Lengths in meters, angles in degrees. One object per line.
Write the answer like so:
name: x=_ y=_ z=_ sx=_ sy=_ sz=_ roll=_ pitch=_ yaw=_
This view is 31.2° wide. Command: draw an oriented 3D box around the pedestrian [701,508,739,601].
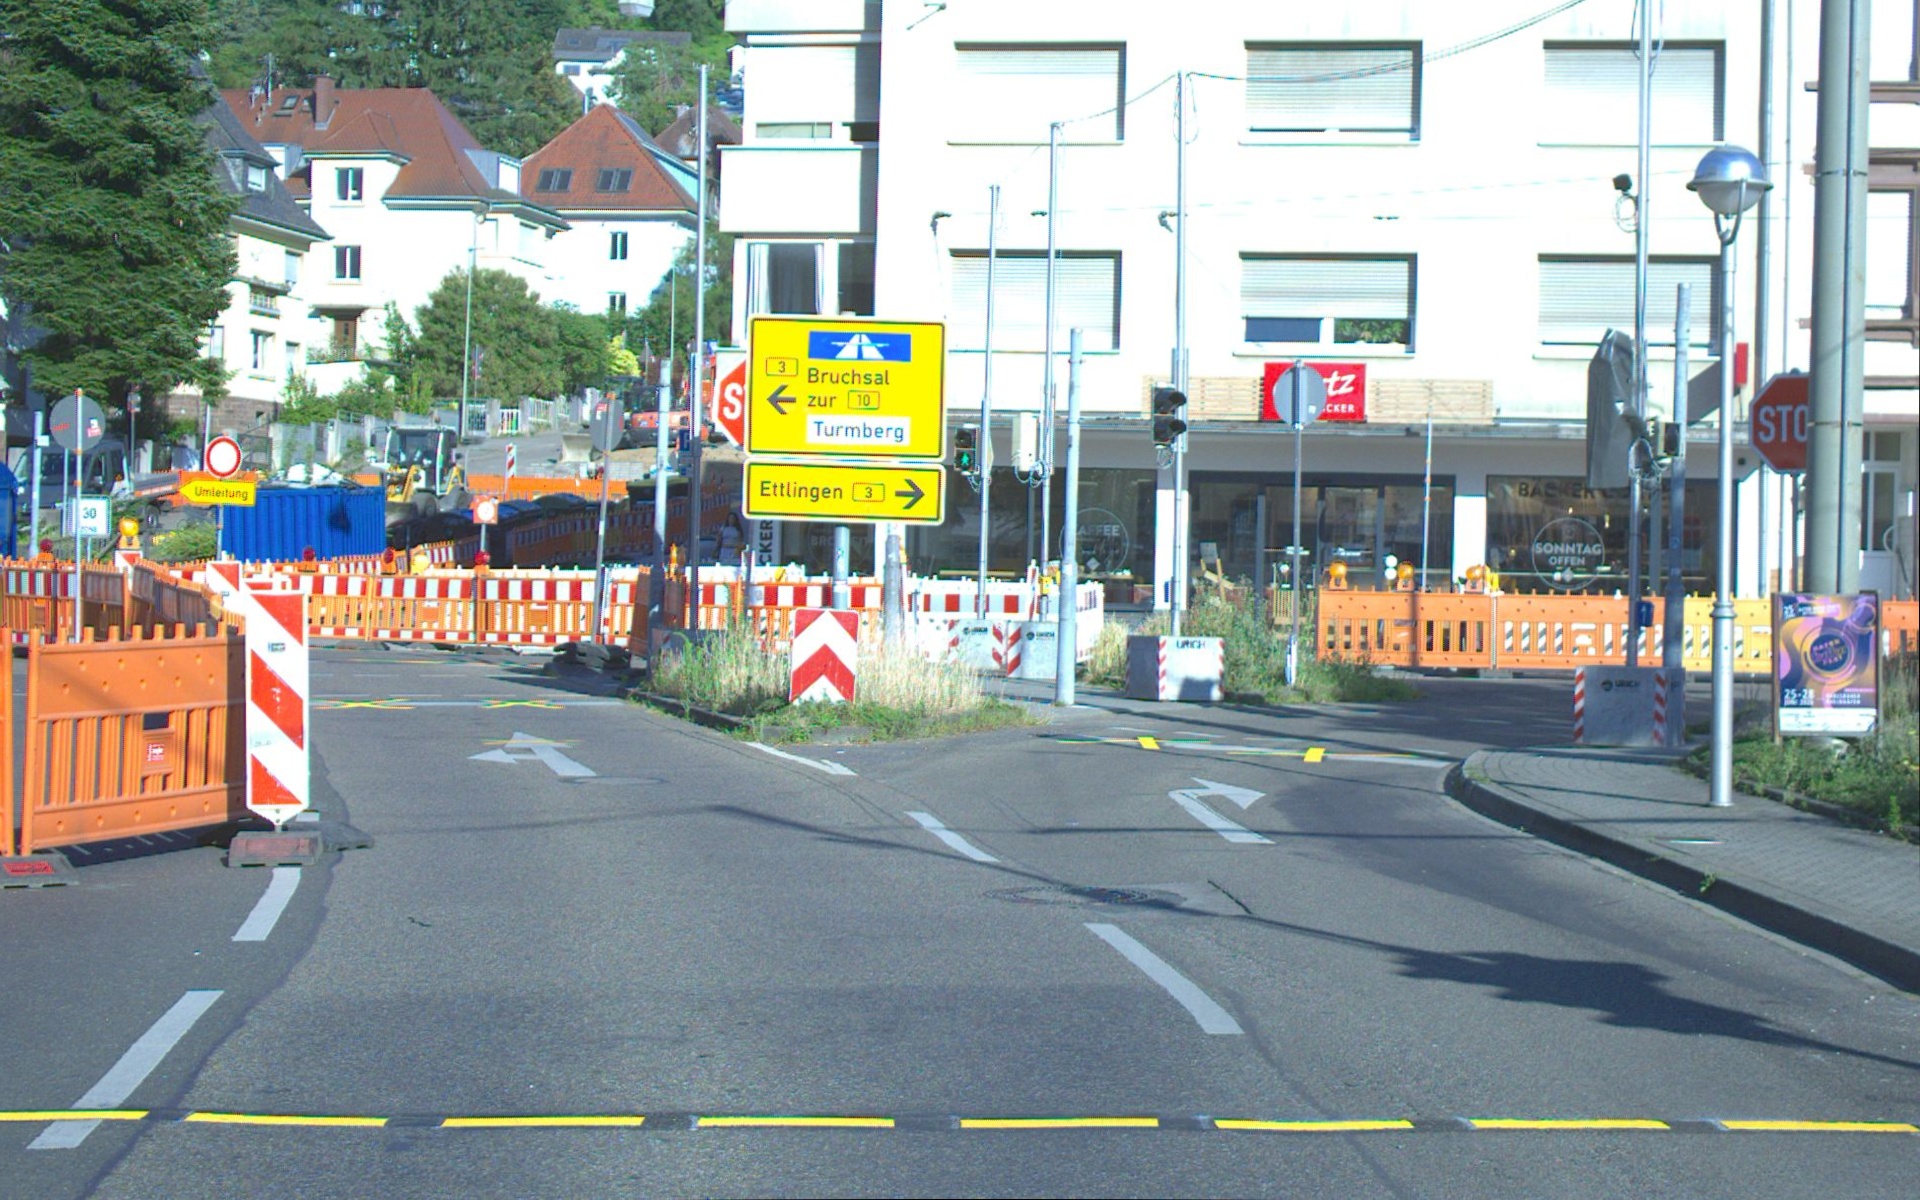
pedestrian: x=-4.598 y=-0.871 z=65.962 sx=0.640 sy=1.754 sz=0.718 roll=1 pitch=1 yaw=-1

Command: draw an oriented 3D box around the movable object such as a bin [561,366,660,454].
movable object such as a bin: x=-11.546 y=-6.258 z=113.732 sx=2.191 sy=2.681 sz=3.998 roll=1 pitch=1 yaw=10

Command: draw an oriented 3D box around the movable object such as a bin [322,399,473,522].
movable object such as a bin: x=-12.931 y=-3.183 z=79.243 sx=2.191 sy=2.681 sz=3.998 roll=1 pitch=1 yaw=10

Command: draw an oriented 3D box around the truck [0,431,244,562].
truck: x=-17.221 y=-1.991 z=68.639 sx=2.357 sy=2.407 sz=9.147 roll=1 pitch=1 yaw=11
